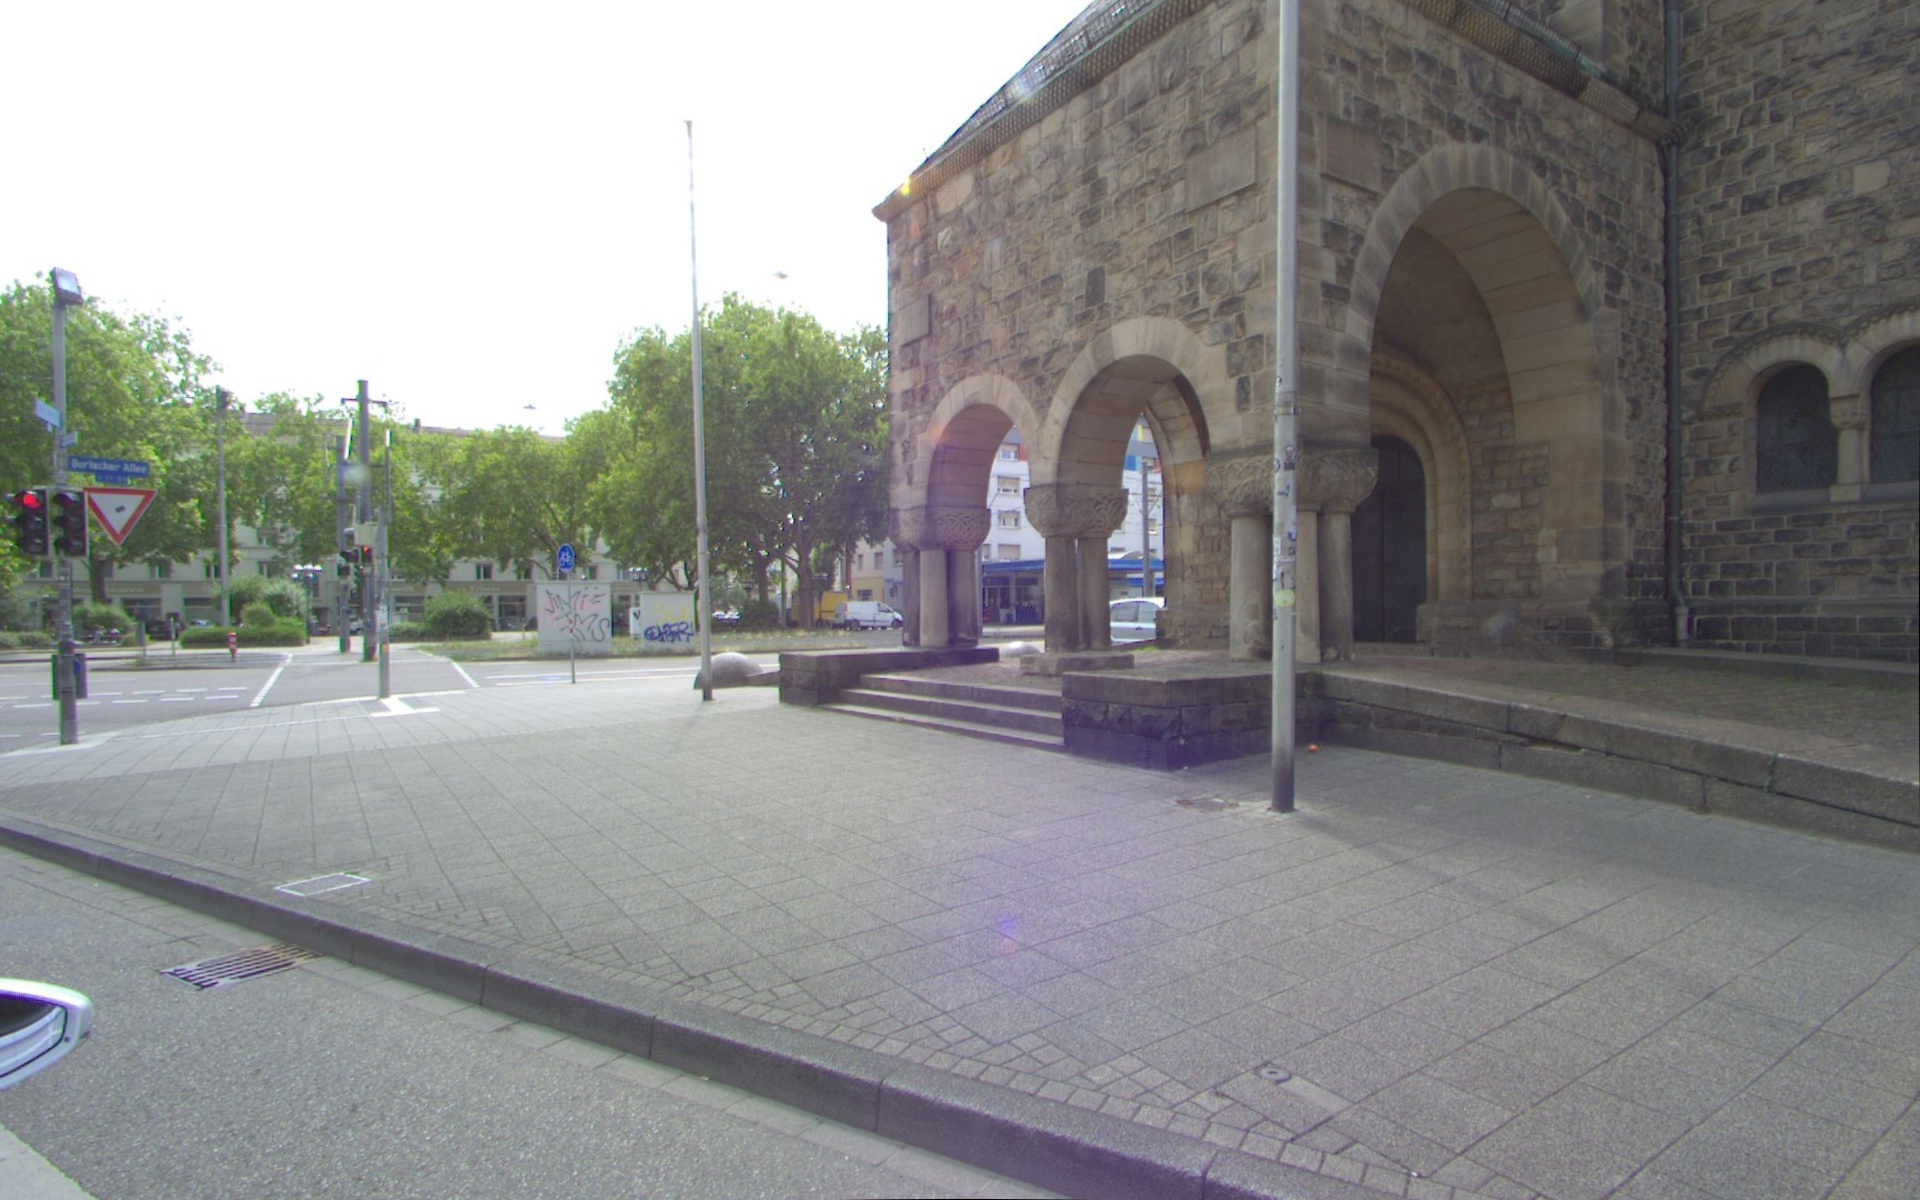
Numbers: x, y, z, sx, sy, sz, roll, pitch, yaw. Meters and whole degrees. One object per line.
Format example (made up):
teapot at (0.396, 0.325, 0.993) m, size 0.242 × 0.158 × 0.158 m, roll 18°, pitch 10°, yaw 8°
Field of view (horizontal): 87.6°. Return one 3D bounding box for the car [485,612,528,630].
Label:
car at (-39.547, 1.780, 87.271) m, size 3.949 × 1.523 × 1.760 m, roll -1°, pitch 0°, yaw 37°

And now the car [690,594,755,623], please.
car at (-21.990, 0.802, 92.684) m, size 5.269 × 2.618 × 2.482 m, roll 0°, pitch -1°, yaw -36°

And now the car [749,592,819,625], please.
car at (-14.560, 0.688, 83.043) m, size 5.269 × 2.618 × 2.165 m, roll 0°, pitch -1°, yaw -36°

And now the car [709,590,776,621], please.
car at (-19.193, 0.517, 88.416) m, size 5.269 × 2.618 × 2.482 m, roll 0°, pitch -1°, yaw -36°

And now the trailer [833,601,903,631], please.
trailer at (-6.216, 1.045, 67.700) m, size 4.377 × 1.951 × 1.843 m, roll 0°, pitch 0°, yaw -33°

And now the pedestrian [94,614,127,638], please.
pedestrian at (-48.030, 1.467, 56.586) m, size 1.422 × 1.252 × 1.087 m, roll -1°, pitch 1°, yaw 37°

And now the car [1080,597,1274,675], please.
car at (4.694, 0.730, 22.174) m, size 1.992 × 1.563 × 4.002 m, roll 0°, pitch 0°, yaw -33°

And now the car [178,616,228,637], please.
car at (-56.956, 1.954, 75.339) m, size 3.949 × 1.523 × 1.986 m, roll -1°, pitch 0°, yaw 37°

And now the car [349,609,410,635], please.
car at (-44.718, 1.665, 77.137) m, size 3.946 × 1.908 × 1.846 m, roll -1°, pitch 0°, yaw -34°

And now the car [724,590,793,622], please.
car at (-17.289, 0.513, 86.188) m, size 5.269 × 2.618 × 2.482 m, roll 0°, pitch -1°, yaw -36°

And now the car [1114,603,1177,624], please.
car at (14.112, 1.029, 76.163) m, size 4.554 × 1.535 × 1.985 m, roll 0°, pitch -1°, yaw -31°

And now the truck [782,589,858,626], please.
truck at (-10.404, 0.565, 73.988) m, size 3.040 × 2.612 × 6.468 m, roll -1°, pitch 0°, yaw -34°
